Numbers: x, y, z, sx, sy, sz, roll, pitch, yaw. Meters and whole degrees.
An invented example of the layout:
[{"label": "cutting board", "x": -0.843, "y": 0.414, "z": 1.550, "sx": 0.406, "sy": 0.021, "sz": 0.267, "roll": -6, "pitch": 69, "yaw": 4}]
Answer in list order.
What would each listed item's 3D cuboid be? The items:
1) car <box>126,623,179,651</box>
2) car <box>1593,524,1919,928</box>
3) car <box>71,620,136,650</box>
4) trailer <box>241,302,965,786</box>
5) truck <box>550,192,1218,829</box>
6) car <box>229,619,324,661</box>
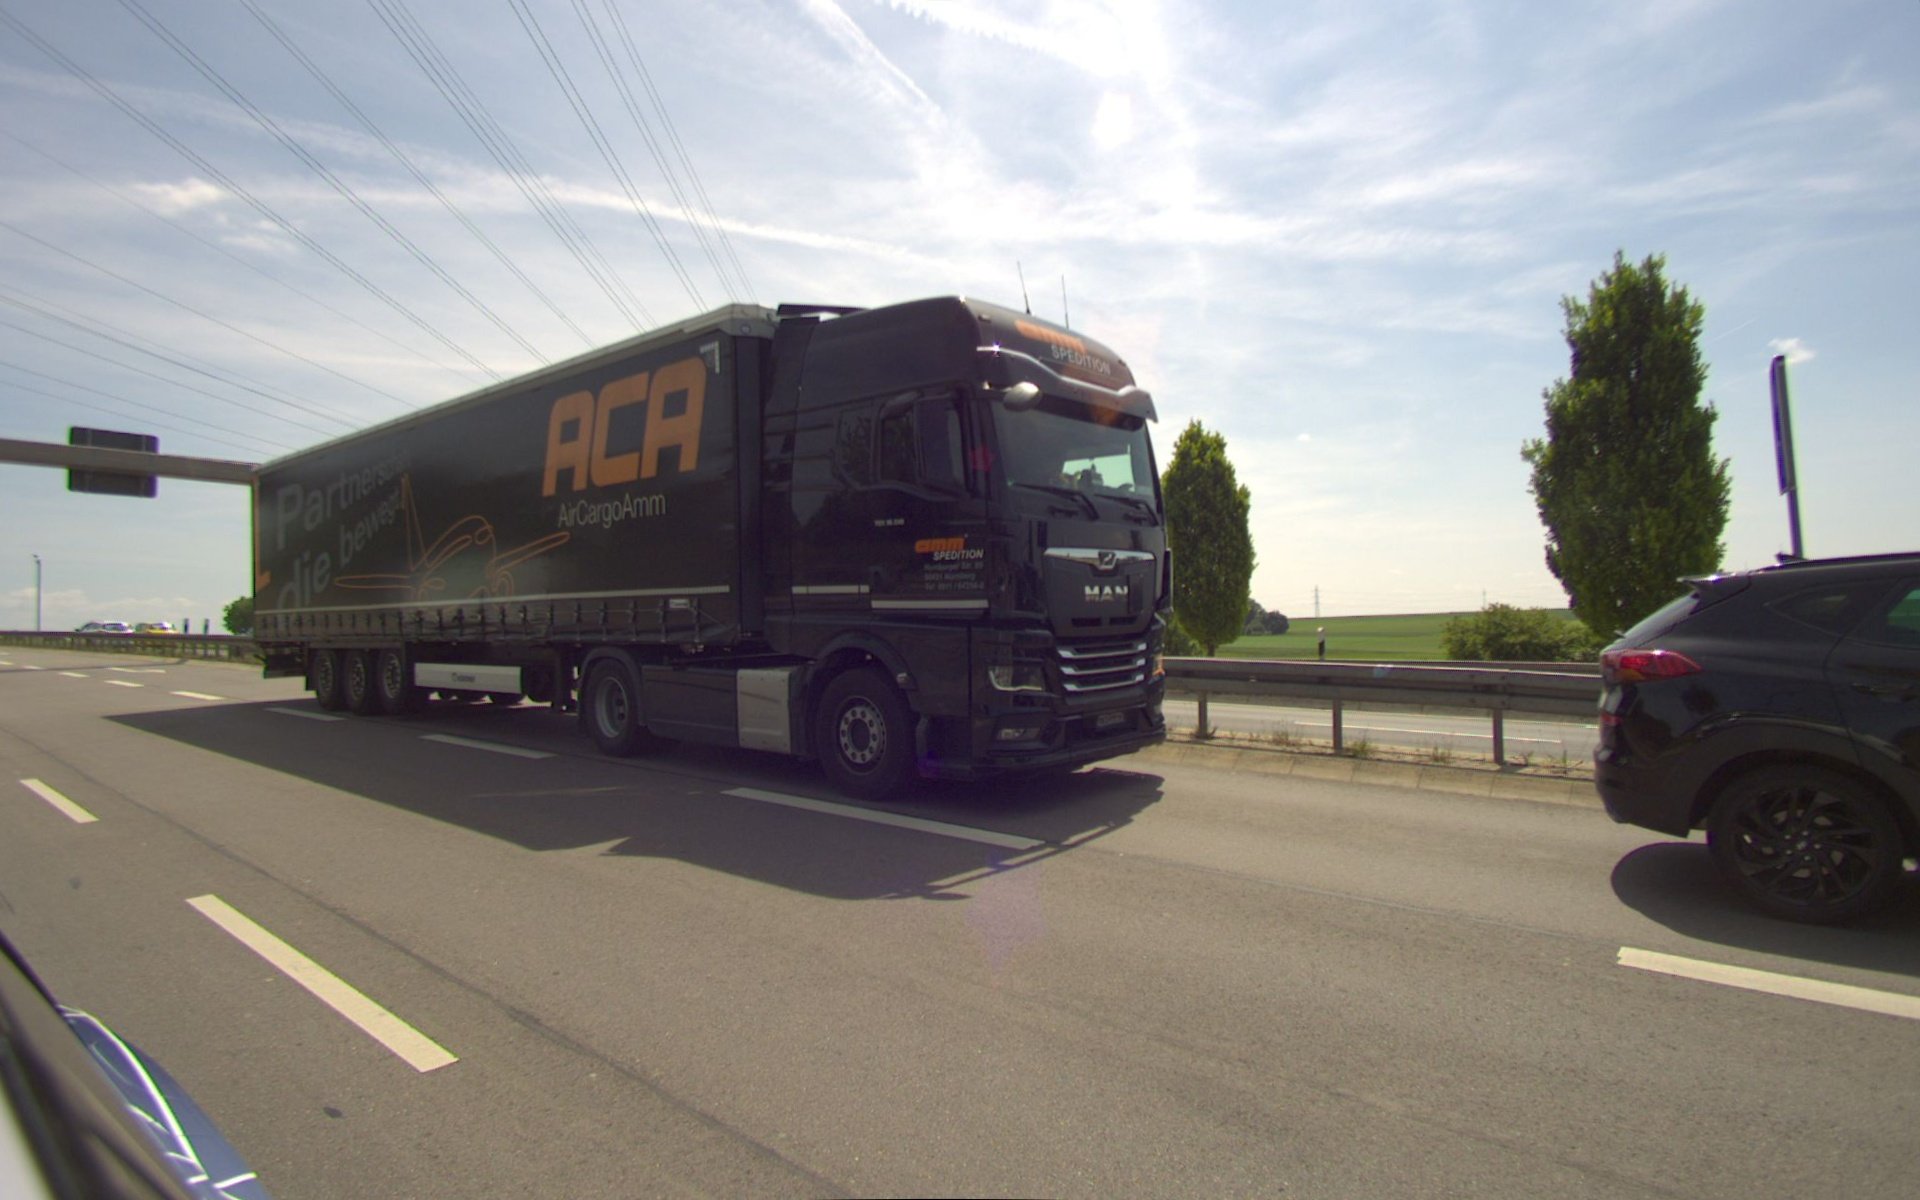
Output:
[{"label": "car", "x": -45.029, "y": 2.069, "z": 56.406, "sx": 3.700, "sy": 1.492, "sz": 1.499, "roll": -2, "pitch": -4, "yaw": 39}, {"label": "car", "x": 5.332, "y": 0.495, "z": 4.202, "sx": 4.346, "sy": 1.670, "sz": 1.837, "roll": -1, "pitch": -1, "yaw": 41}, {"label": "car", "x": -43.481, "y": 1.767, "z": 51.361, "sx": 4.320, "sy": 1.454, "sz": 1.719, "roll": -1, "pitch": -3, "yaw": 39}, {"label": "trailer", "x": -6.094, "y": -0.366, "z": 13.781, "sx": 13.777, "sy": 3.943, "sz": 2.755, "roll": -1, "pitch": 0, "yaw": 41}, {"label": "truck", "x": -1.004, "y": -0.539, "z": 9.425, "sx": 5.967, "sy": 4.044, "sz": 2.755, "roll": -1, "pitch": 0, "yaw": 40}, {"label": "car", "x": -25.776, "y": 1.492, "z": 38.114, "sx": 4.320, "sy": 1.516, "sz": 1.719, "roll": -1, "pitch": -3, "yaw": 39}]
